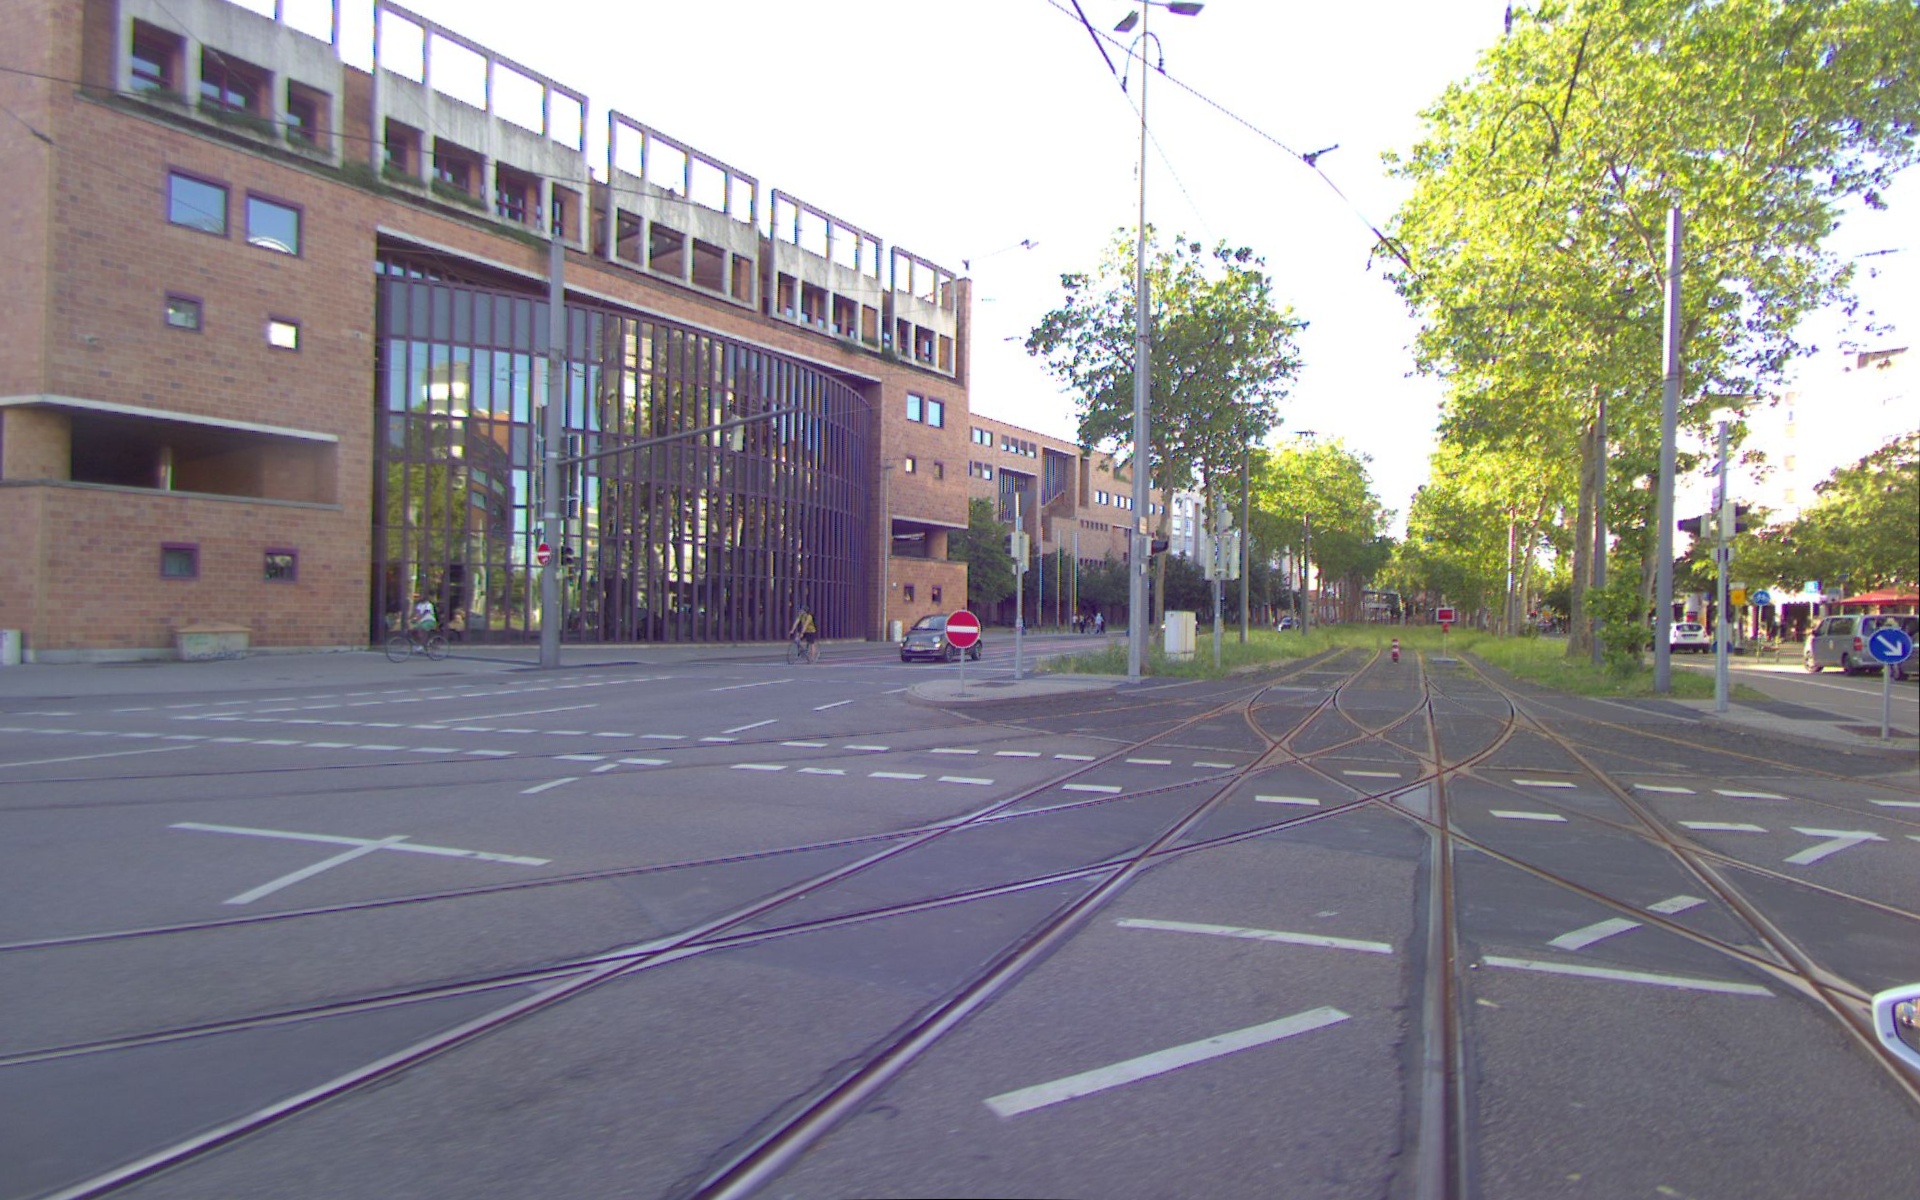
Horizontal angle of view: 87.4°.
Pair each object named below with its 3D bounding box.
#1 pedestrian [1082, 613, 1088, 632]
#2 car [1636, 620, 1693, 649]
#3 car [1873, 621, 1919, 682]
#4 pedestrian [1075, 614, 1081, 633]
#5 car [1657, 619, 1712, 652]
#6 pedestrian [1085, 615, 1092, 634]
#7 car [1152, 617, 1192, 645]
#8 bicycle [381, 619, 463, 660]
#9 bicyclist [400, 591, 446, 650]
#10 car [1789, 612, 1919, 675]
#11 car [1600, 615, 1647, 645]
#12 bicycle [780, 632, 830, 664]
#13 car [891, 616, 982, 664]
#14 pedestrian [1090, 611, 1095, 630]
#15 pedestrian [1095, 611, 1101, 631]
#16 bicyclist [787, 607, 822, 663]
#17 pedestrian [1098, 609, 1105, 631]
[{"bbox_3d":[9.753,1.754,78.370,0.288,1.476,0.315,0,0,31],"label":"pedestrian"},{"bbox_3d":[41.478,2.003,59.241,1.955,1.650,4.083,-1,-1,24],"label":"car"},{"bbox_3d":[26.724,1.362,27.219,1.831,1.593,4.409,-2,-2,28],"label":"car"},{"bbox_3d":[9.032,1.806,76.816,0.359,1.439,0.331,0,0,33],"label":"pedestrian"},{"bbox_3d":[38.857,1.877,53.956,1.831,1.660,3.862,0,-1,28],"label":"car"},{"bbox_3d":[9.778,1.865,76.433,0.385,1.435,0.457,0,0,32],"label":"pedestrian"},{"bbox_3d":[13.509,1.926,63.768,1.793,1.583,4.340,1,1,21],"label":"car"},{"bbox_3d":[-14.918,1.086,27.888,0.607,1.094,1.911,1,-1,39],"label":"bicycle"},{"bbox_3d":[-14.917,0.571,27.913,0.676,1.611,0.923,1,0,39],"label":"bicyclist"},{"bbox_3d":[28.809,1.360,32.395,1.892,1.867,4.921,-2,-2,24],"label":"car"},{"bbox_3d":[46.134,2.059,69.964,1.998,2.003,4.412,-1,-1,24],"label":"car"},{"bbox_3d":[-4.656,1.444,30.337,0.528,0.925,1.563,0,-1,37],"label":"bicycle"},{"bbox_3d":[-0.678,1.214,31.840,1.623,1.346,3.621,1,1,21],"label":"car"},{"bbox_3d":[10.282,1.581,78.030,0.313,1.476,0.341,0,0,31],"label":"pedestrian"},{"bbox_3d":[10.686,1.638,77.801,0.360,1.543,0.422,0,0,33],"label":"pedestrian"},{"bbox_3d":[-4.686,1.043,30.309,0.614,1.643,0.811,1,0,37],"label":"bicyclist"},{"bbox_3d":[11.046,1.538,78.362,0.430,1.727,0.479,0,0,32],"label":"pedestrian"}]
